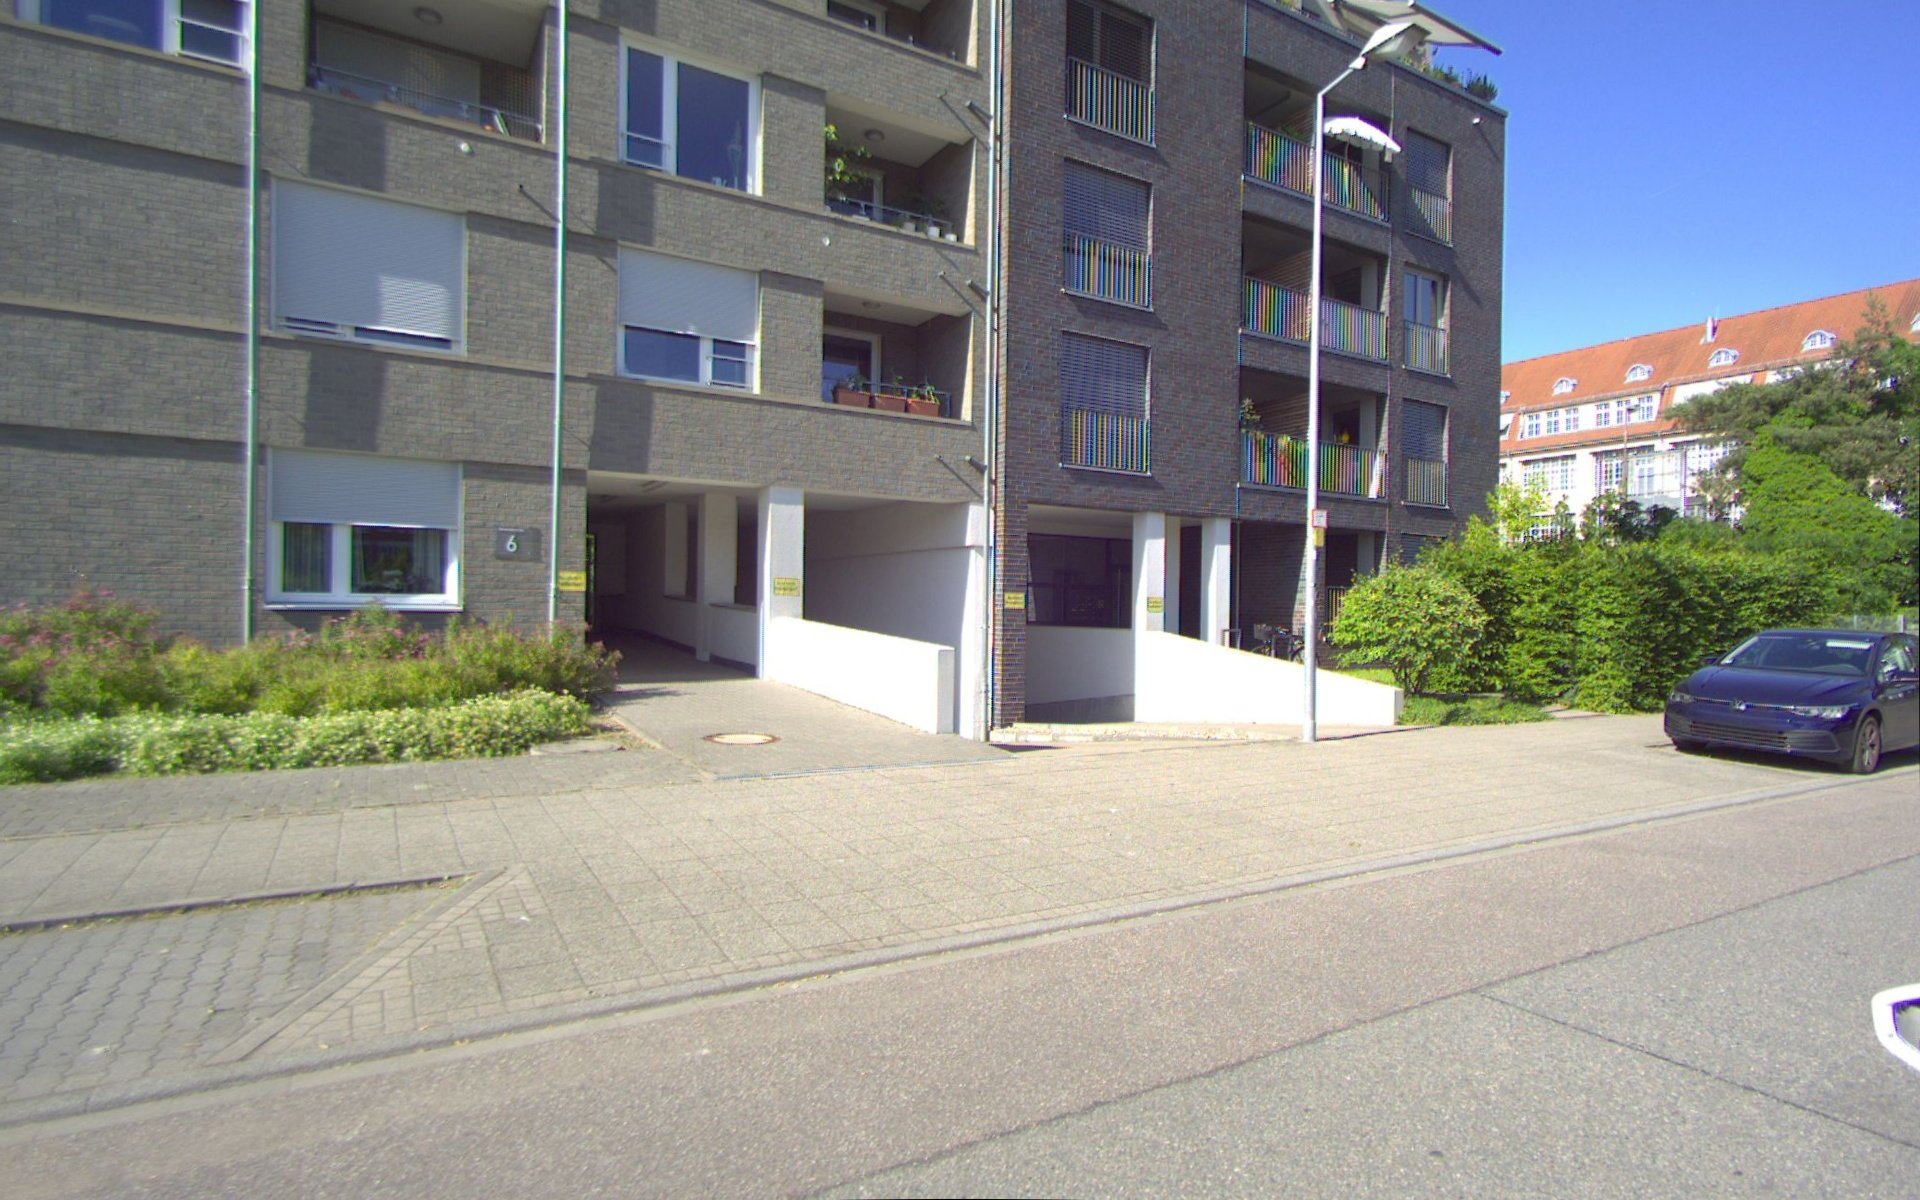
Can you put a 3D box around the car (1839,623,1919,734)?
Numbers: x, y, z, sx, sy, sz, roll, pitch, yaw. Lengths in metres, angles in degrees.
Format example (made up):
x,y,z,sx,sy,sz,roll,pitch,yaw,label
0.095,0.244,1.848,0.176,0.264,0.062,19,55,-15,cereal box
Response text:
x,y,z,sx,sy,sz,roll,pitch,yaw,label
15.056,1.157,14.936,3.981,1.494,1.831,1,1,-31,car

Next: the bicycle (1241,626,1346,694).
x,y,z,sx,sy,sz,roll,pitch,yaw,label
5.776,1.020,17.365,1.853,1.089,0.637,1,0,-31,bicycle

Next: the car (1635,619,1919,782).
x,y,z,sx,sy,sz,roll,pitch,yaw,label
9.863,1.043,11.637,4.053,1.494,1.831,1,1,-31,car
